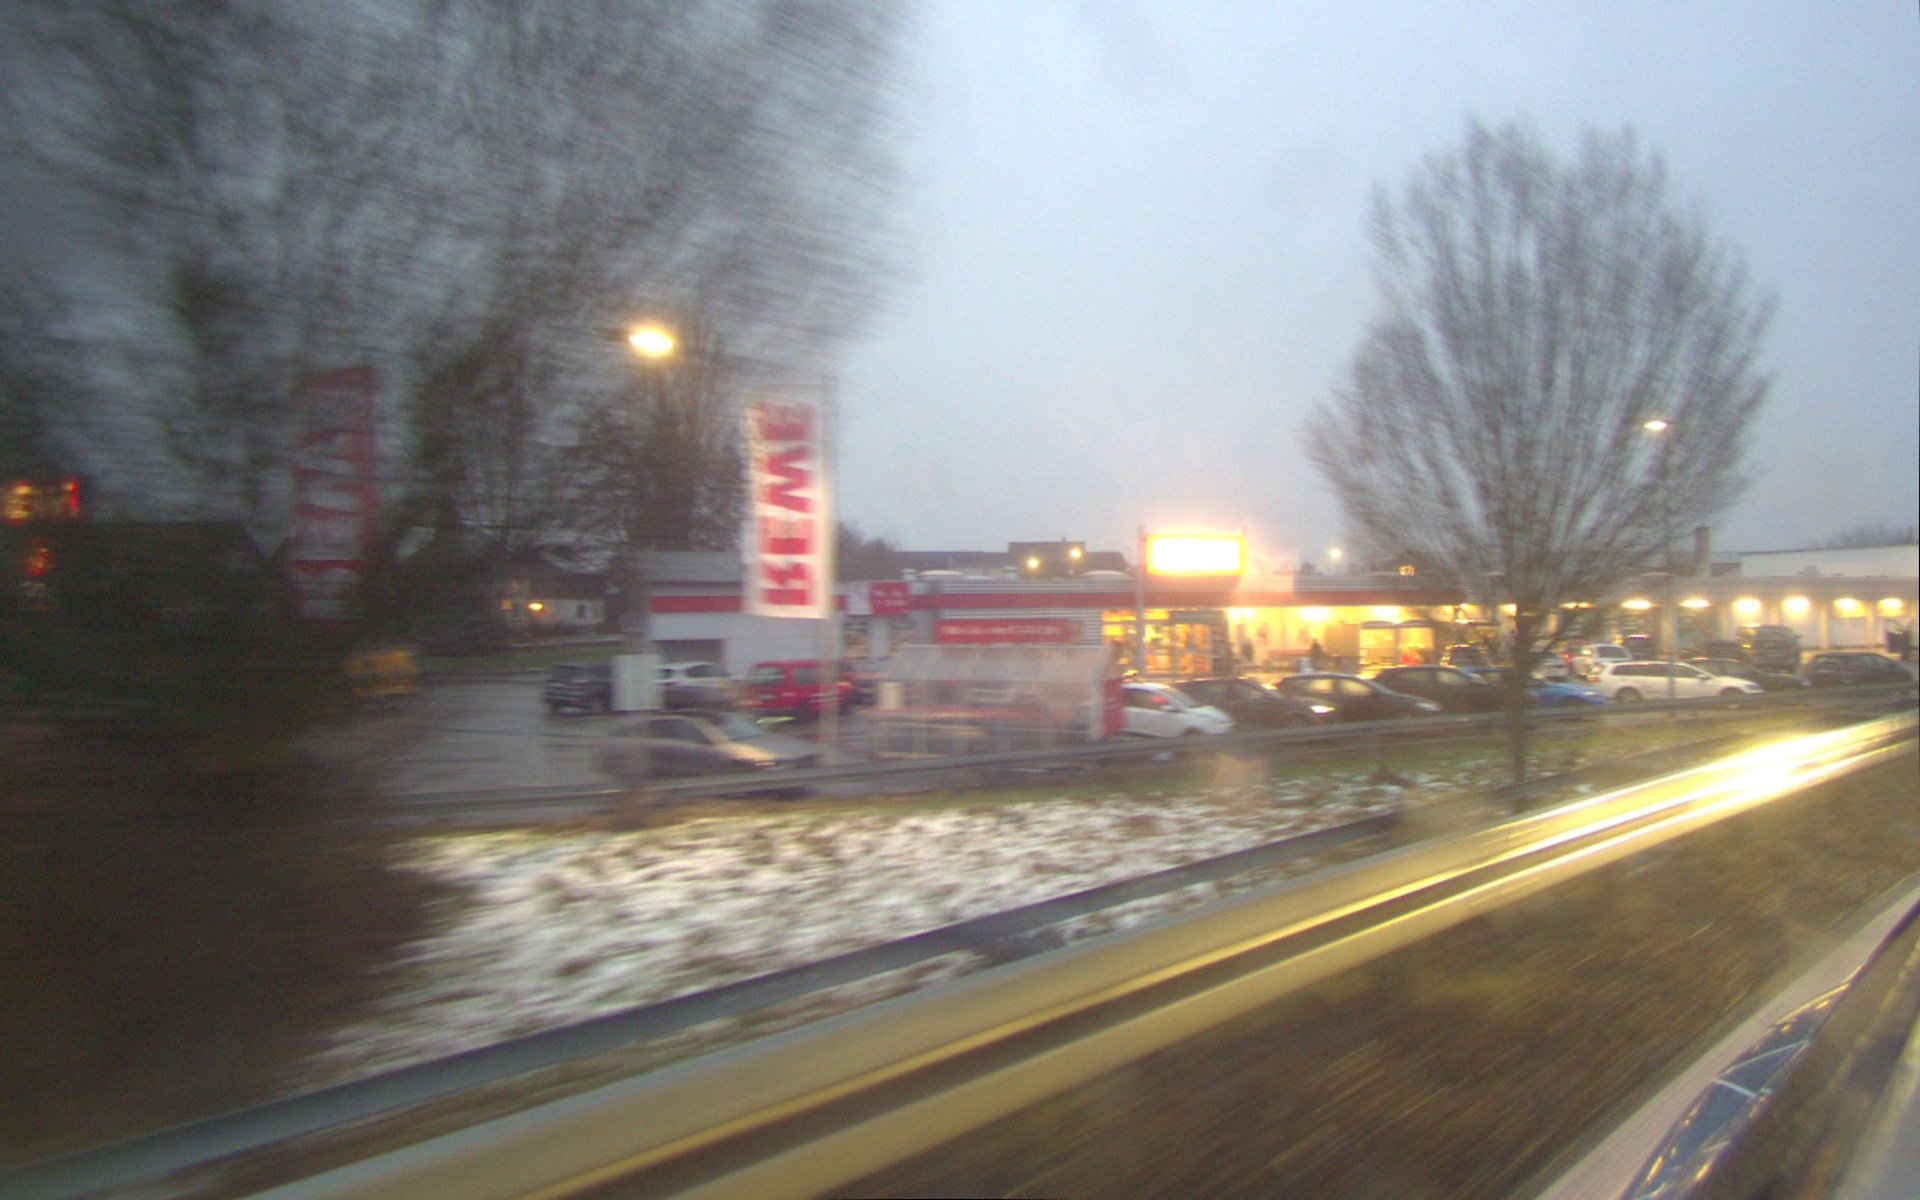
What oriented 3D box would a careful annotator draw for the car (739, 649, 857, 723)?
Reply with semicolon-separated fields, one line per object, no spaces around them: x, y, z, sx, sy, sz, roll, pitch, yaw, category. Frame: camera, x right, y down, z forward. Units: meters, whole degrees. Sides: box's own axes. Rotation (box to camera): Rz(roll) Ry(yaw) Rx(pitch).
-4.879;2.547;30.973;1.704;1.892;4.003;0;0;24;car

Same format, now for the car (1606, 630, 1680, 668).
32.750;2.306;48.630;1.776;1.615;3.960;0;0;16;car

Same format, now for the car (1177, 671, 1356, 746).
7.359;2.557;24.324;3.957;1.438;1.618;0;0;25;car

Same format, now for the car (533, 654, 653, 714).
-12.087;2.727;33.540;1.552;1.633;3.808;0;0;24;car

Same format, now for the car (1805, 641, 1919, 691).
31.137;2.224;34.645;3.731;1.447;1.777;-1;1;-20;car

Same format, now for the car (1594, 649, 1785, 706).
22.549;2.353;31.550;4.666;1.414;1.884;0;1;31;car

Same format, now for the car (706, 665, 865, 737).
-4.693;2.665;27.200;3.951;1.622;1.727;0;0;-21;car

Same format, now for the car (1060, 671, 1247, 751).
4.468;2.489;23.329;3.957;1.457;1.782;0;0;25;car

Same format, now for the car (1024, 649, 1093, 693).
3.787;2.650;38.419;1.551;1.369;3.809;0;0;23;car

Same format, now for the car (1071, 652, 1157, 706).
5.319;2.643;34.586;1.729;1.443;4.277;0;0;26;car

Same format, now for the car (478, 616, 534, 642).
-38.083;2.396;85.014;1.967;1.969;4.845;0;1;8;car

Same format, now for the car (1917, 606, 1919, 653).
50.372;1.615;50.882;2.264;2.470;5.181;0;1;32;car

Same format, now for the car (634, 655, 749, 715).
-8.891;2.777;33.792;1.608;1.628;3.801;0;0;28;car

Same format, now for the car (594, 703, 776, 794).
-5.220;2.767;19.213;3.173;1.330;1.380;0;0;23;car

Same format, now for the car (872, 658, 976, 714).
-1.096;2.706;32.492;1.557;1.448;3.718;0;0;32;car

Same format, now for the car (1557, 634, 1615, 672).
29.318;2.446;47.512;1.708;1.520;3.995;0;0;23;car

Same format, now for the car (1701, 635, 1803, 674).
33.916;2.318;43.418;3.230;1.555;1.377;-1;-2;31;car

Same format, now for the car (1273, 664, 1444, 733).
10.139;2.456;25.839;3.957;1.438;1.618;0;0;25;car

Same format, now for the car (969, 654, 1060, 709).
1.832;2.592;32.974;1.554;1.448;3.724;0;0;28;car

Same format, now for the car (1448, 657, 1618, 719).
16.320;2.466;29.036;4.142;1.414;1.886;0;1;29;car

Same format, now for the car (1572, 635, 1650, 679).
27.357;2.357;42.666;1.804;1.660;4.439;0;-1;20;car

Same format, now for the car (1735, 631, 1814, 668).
37.086;2.224;46.177;1.697;1.536;3.239;-1;-1;18;car

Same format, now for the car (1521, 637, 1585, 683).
23.856;2.376;40.846;1.787;1.554;4.503;0;0;25;car

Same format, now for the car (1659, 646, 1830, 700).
25.181;2.313;32.684;4.146;1.414;1.831;0;1;31;car

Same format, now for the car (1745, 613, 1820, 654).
42.450;1.700;52.328;1.868;1.983;4.914;-1;-1;26;car

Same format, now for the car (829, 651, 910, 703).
-3.151;2.680;35.882;1.548;1.504;3.739;0;0;18;car

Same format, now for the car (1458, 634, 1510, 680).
20.765;2.212;40.055;1.586;1.605;3.592;-1;0;31;car

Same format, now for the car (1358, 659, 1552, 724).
13.240;2.414;27.345;4.537;1.473;1.916;-1;0;24;car

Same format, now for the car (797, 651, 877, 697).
-4.511;2.696;37.603;1.548;1.411;3.817;0;0;18;car
